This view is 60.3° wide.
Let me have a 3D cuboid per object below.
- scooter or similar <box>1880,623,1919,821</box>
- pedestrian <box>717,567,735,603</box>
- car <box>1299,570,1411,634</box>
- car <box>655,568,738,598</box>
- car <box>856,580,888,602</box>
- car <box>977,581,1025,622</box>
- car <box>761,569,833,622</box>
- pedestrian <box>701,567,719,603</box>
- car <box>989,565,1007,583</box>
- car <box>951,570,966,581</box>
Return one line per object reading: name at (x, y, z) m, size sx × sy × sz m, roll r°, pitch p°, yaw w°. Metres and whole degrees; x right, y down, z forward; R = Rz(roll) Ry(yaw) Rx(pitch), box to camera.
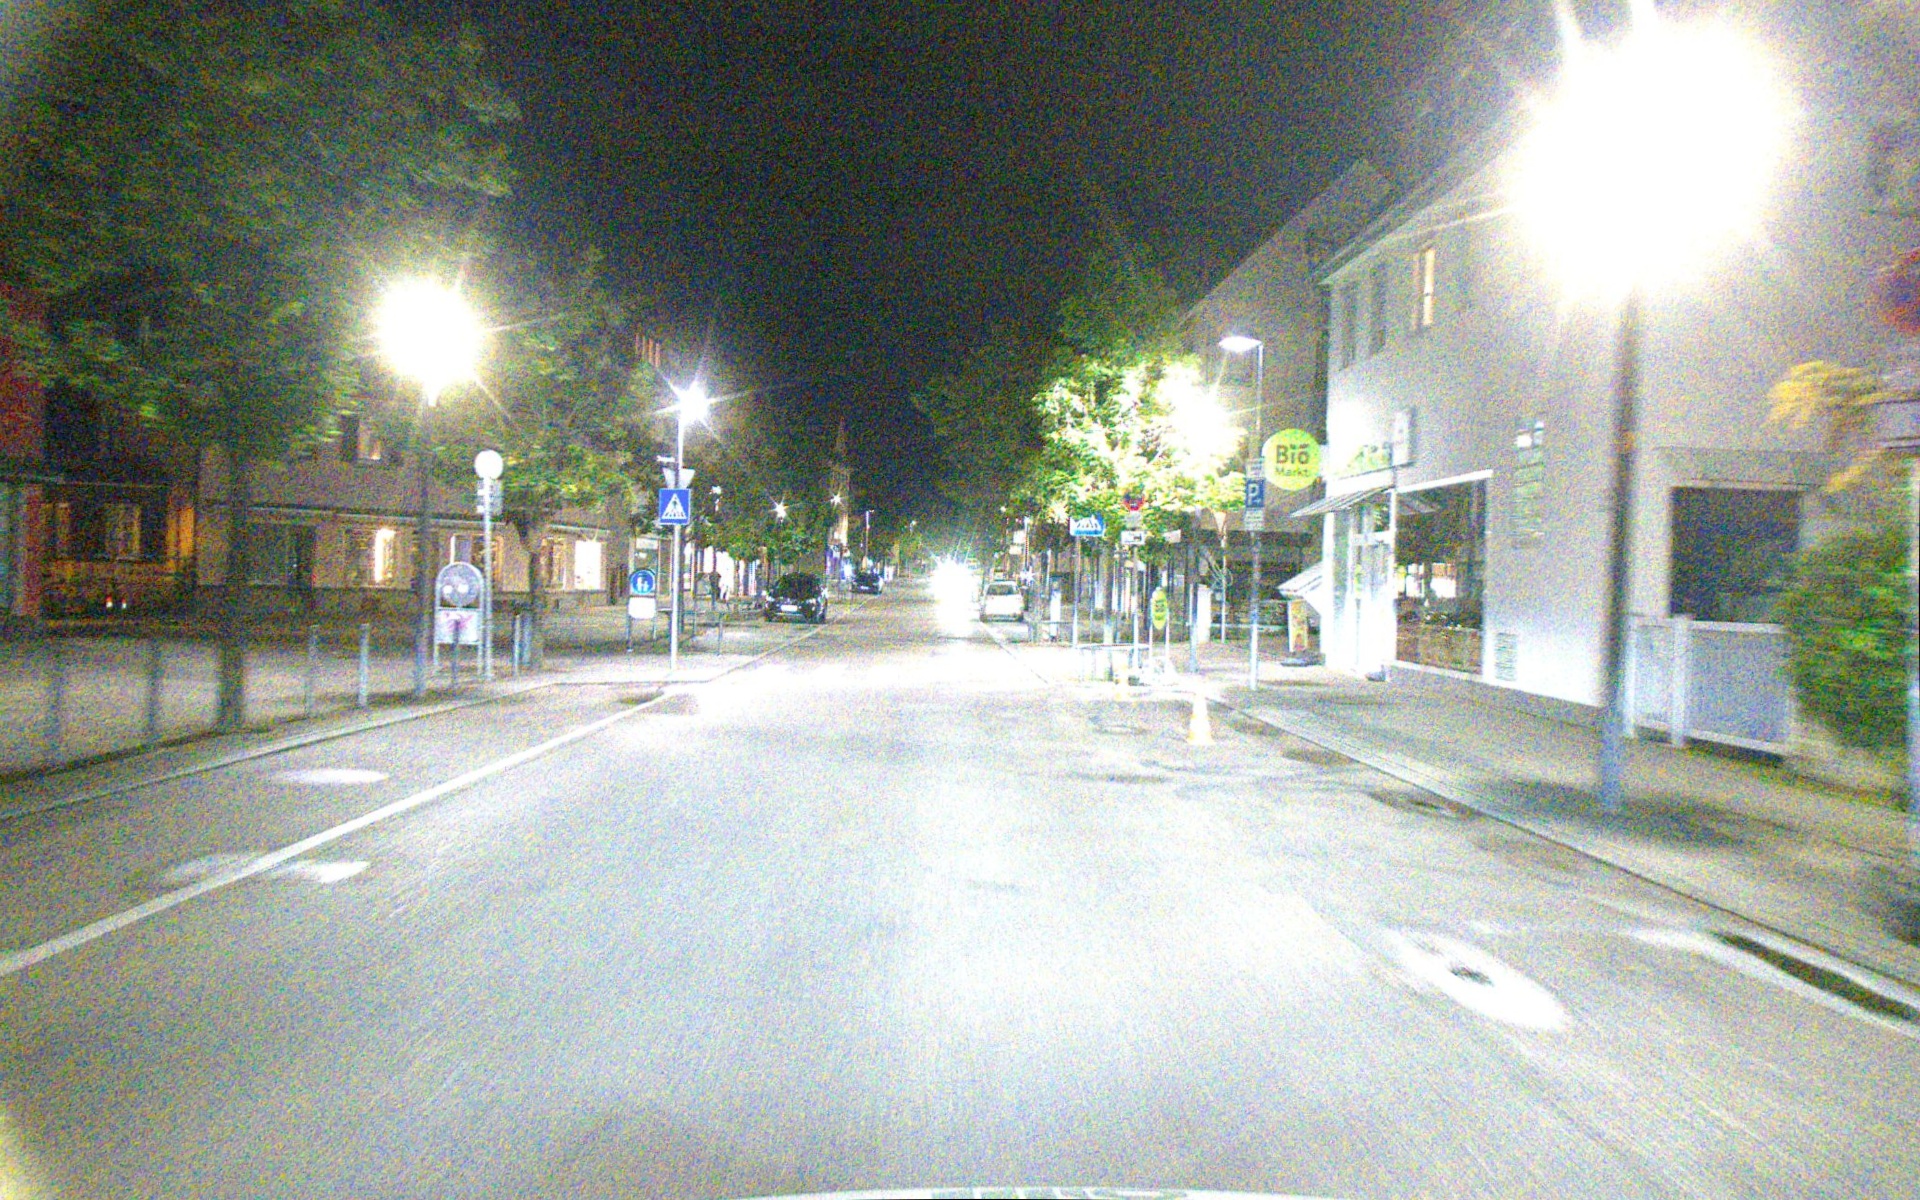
scooter or similar at (6.509, 0.807, 10.721) m, size 0.365 × 1.299 × 1.305 m, roll 1°, pitch -1°, yaw 0°
pedestrian at (-11.247, -0.707, 79.455) m, size 0.753 × 1.684 × 0.782 m, roll 1°, pitch 2°, yaw 1°
car at (10.336, 0.065, 43.544) m, size 1.768 × 1.485 × 4.055 m, roll -3°, pitch 0°, yaw -2°
car at (-14.117, -0.912, 88.813) m, size 4.080 × 1.463 × 1.842 m, roll -2°, pitch 1°, yaw 3°
car at (-5.967, -0.626, 112.573) m, size 1.875 × 1.394 × 4.459 m, roll 1°, pitch 2°, yaw 1°
car at (1.566, 0.037, 64.344) m, size 1.641 × 1.485 × 3.674 m, roll 1°, pitch 1°, yaw -2°
car at (-5.747, -0.194, 58.742) m, size 1.976 × 1.720 × 5.003 m, roll 2°, pitch 1°, yaw 0°
pedestrian at (-12.011, -0.723, 79.459) m, size 0.753 × 1.684 × 0.817 m, roll 1°, pitch 2°, yaw 1°
car at (3.807, -2.635, 166.358) m, size 1.739 × 1.681 × 4.365 m, roll 1°, pitch 1°, yaw 1°
car at (-0.193, -2.898, 192.808) m, size 1.687 × 1.268 × 4.238 m, roll 1°, pitch 1°, yaw 1°
